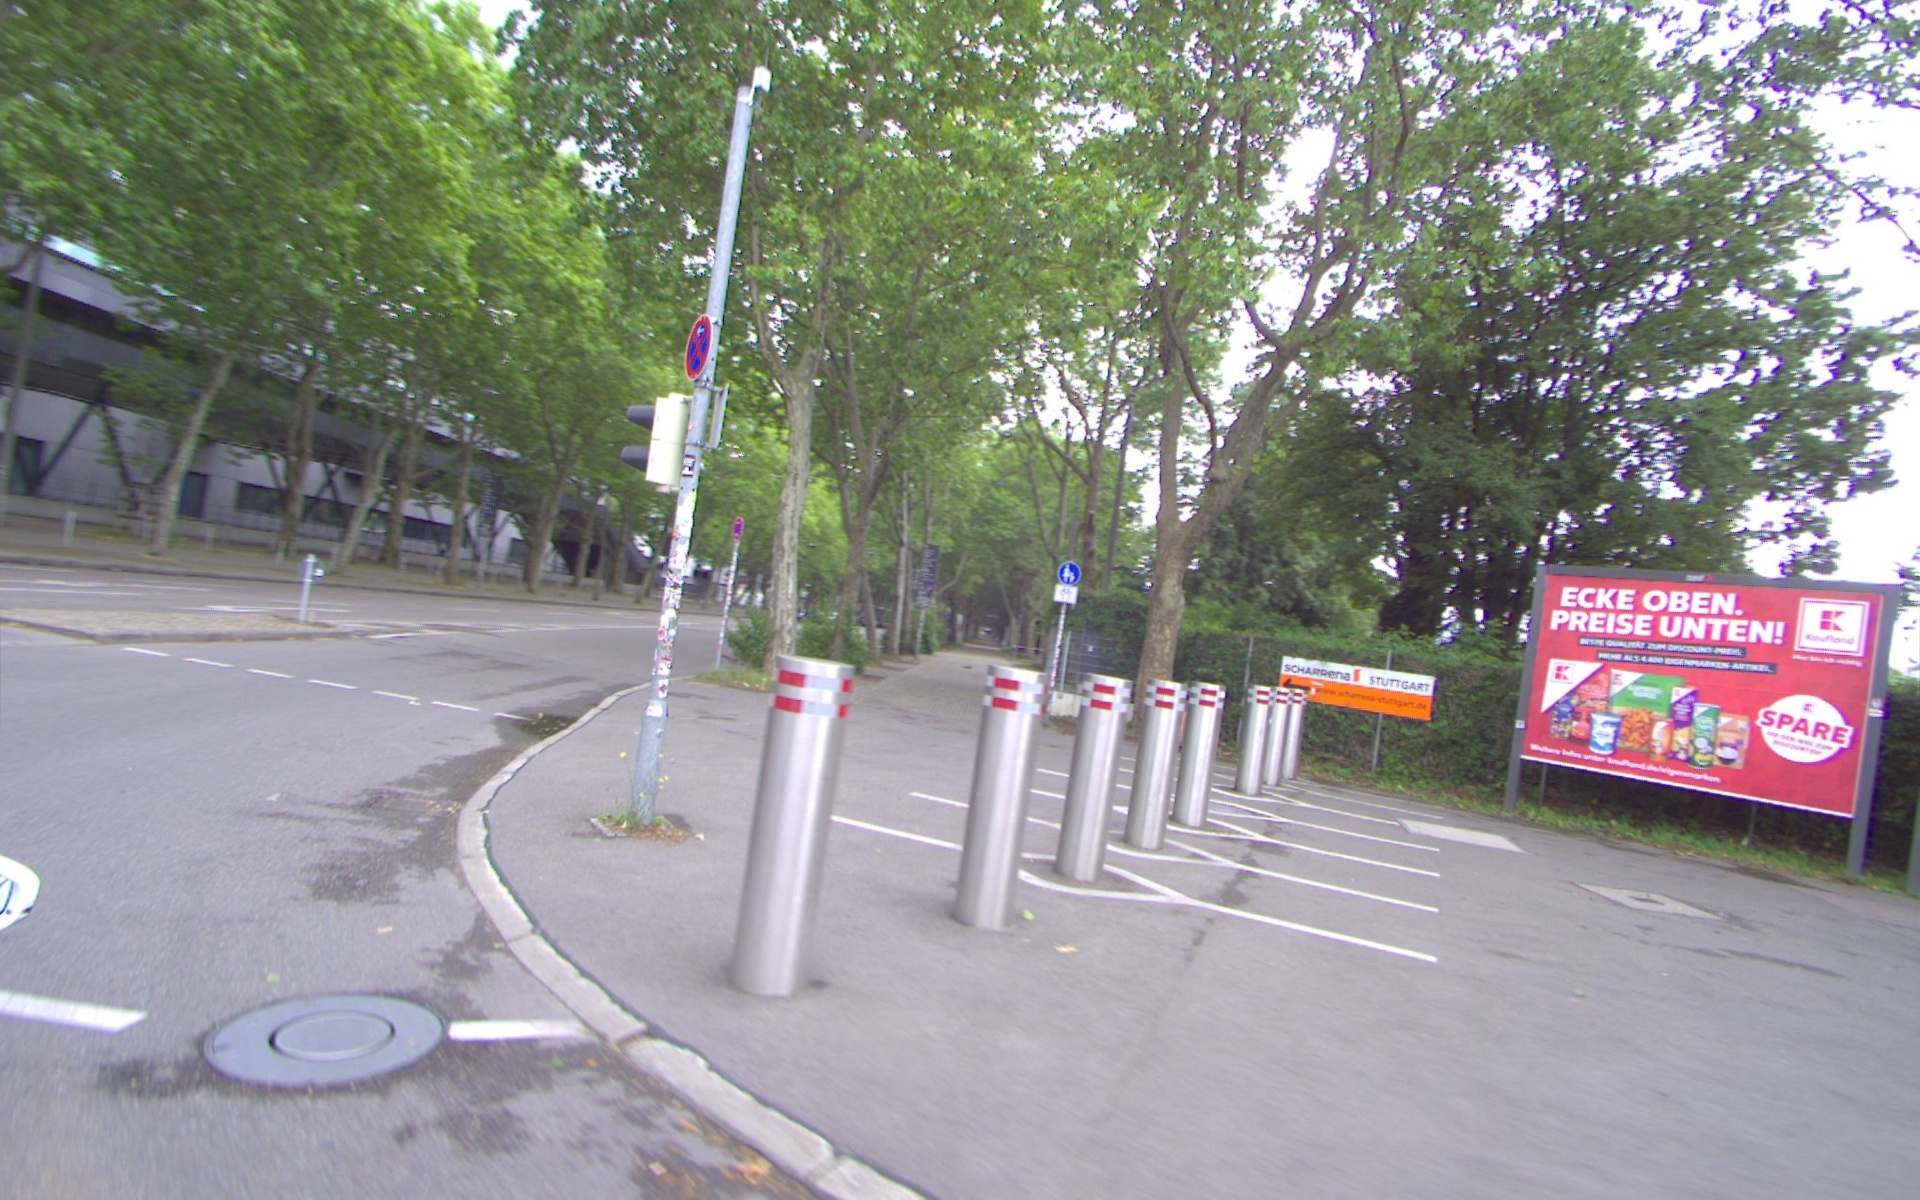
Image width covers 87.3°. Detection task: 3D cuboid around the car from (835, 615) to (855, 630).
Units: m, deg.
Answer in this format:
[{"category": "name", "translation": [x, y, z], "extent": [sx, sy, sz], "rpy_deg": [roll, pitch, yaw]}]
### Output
[{"category": "car", "translation": [-14.028, 2.762, 122.788], "extent": [1.866, 1.453, 4.006], "rpy_deg": [8, -4, 1]}]

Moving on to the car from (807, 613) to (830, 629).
[{"category": "car", "translation": [-15.481, 2.352, 109.898], "extent": [1.738, 1.434, 3.766], "rpy_deg": [6, -3, 2]}]

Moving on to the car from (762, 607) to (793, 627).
[{"category": "car", "translation": [-16.356, 1.563, 90.388], "extent": [1.668, 1.434, 3.767], "rpy_deg": [6, -3, 6]}]
